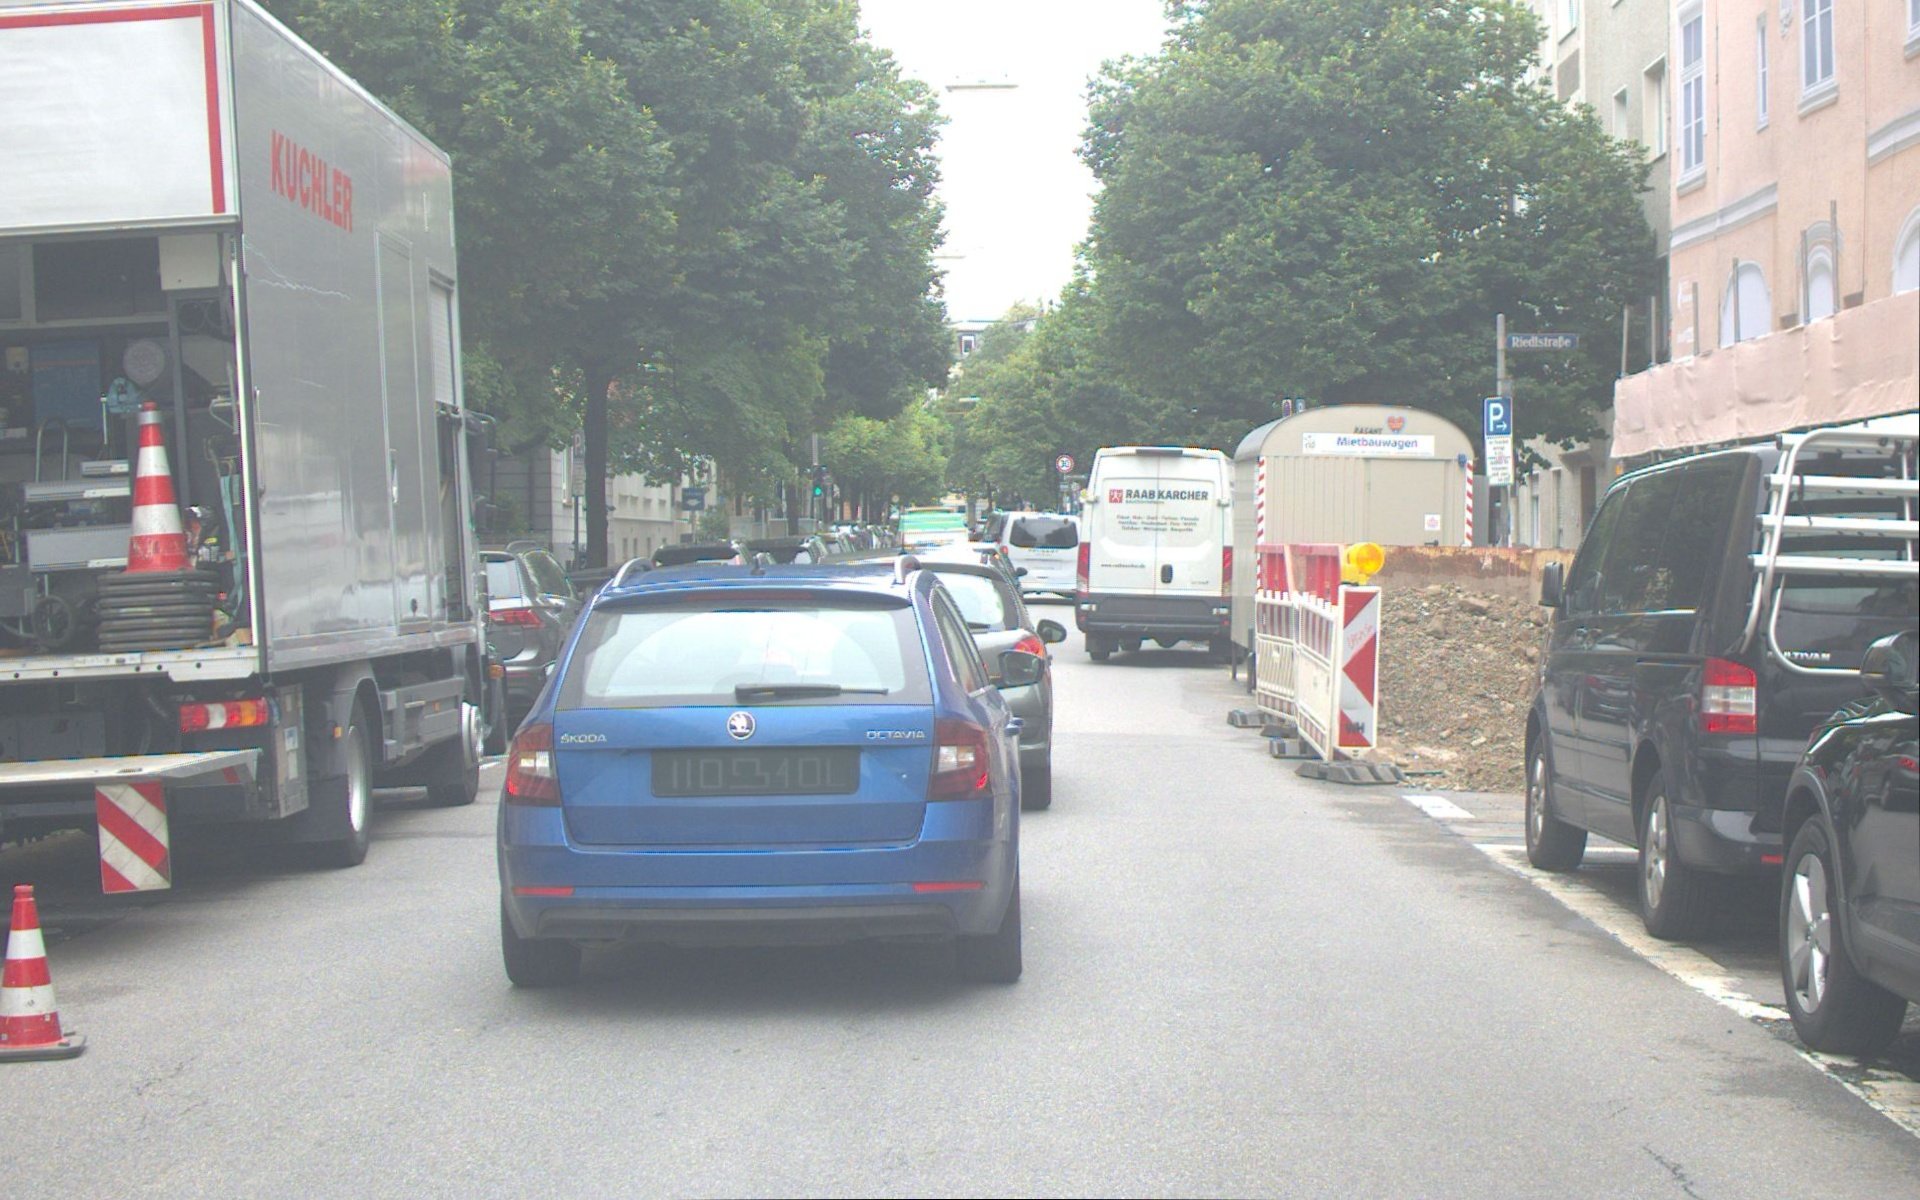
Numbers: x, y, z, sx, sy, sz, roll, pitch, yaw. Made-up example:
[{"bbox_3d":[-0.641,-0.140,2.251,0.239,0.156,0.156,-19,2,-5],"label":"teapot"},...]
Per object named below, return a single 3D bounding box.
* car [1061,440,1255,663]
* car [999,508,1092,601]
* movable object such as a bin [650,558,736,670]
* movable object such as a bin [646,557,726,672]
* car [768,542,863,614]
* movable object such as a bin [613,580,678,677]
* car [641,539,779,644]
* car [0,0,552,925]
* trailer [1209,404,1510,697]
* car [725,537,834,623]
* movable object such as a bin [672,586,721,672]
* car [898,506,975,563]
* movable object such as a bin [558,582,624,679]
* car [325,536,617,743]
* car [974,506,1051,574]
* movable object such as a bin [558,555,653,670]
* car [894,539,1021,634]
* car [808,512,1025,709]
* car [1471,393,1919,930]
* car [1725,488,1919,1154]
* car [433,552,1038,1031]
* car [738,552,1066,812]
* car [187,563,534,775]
[{"bbox_3d":[2.617,-0.605,44.198,2.113,2.654,5.498,1,1,7],"label":"car"},{"bbox_3d":[1.836,-0.985,72.473,1.867,1.863,4.347,1,1,2],"label":"car"},{"bbox_3d":[-3.432,0.168,44.221,1.020,1.372,1.104,-2,1,-3],"label":"movable object such as a bin"},{"bbox_3d":[-3.435,0.173,43.123,0.918,1.372,1.080,-2,1,-3],"label":"movable object such as a bin"},{"bbox_3d":[-3.073,-0.493,73.710,1.812,1.473,4.000,0,1,1],"label":"car"},{"bbox_3d":[-3.858,0.340,42.217,0.711,1.144,0.636,-2,1,-2],"label":"movable object such as a bin"},{"bbox_3d":[-3.668,-0.161,50.944,1.812,1.473,4.000,0,1,-1],"label":"car"},{"bbox_3d":[-4.141,-0.655,18.136,2.812,3.804,8.723,-1,1,1],"label":"car"},{"bbox_3d":[4.157,-0.518,37.074,2.502,2.830,6.901,1,1,1],"label":"trailer"},{"bbox_3d":[-3.205,-0.379,61.668,1.812,1.473,4.000,0,1,-1],"label":"car"},{"bbox_3d":[-3.238,0.356,42.268,0.546,1.017,0.636,-2,1,-2],"label":"movable object such as a bin"},{"bbox_3d":[-0.742,-2.011,104.267,2.007,1.647,4.348,1,1,-4],"label":"car"},{"bbox_3d":[-4.526,0.367,42.174,0.721,1.134,0.659,-2,1,-2],"label":"movable object such as a bin"},{"bbox_3d":[-4.156,0.280,29.821,1.785,1.622,4.185,-1,1,2],"label":"car"},{"bbox_3d":[1.318,-1.521,86.428,1.867,1.647,4.347,1,1,1],"label":"car"},{"bbox_3d":[-4.432,0.147,43.057,1.081,1.372,1.084,-2,1,-3],"label":"movable object such as a bin"},{"bbox_3d":[0.000,-0.238,53.290,1.867,1.343,4.347,1,1,1],"label":"car"},{"bbox_3d":[-0.369,0.036,32.175,1.867,1.690,4.347,1,1,0],"label":"car"},{"bbox_3d":[3.572,0.291,14.921,2.082,1.914,5.140,1,-1,2],"label":"car"},{"bbox_3d":[3.290,0.584,8.902,1.694,1.671,4.407,3,1,2],"label":"car"},{"bbox_3d":[-0.644,0.562,12.740,1.789,1.455,4.314,-1,1,2],"label":"car"},{"bbox_3d":[-0.264,0.427,20.697,1.741,1.417,3.664,0,1,3],"label":"car"},{"bbox_3d":[-4.271,0.446,25.016,1.699,1.404,3.708,-1,1,3],"label":"car"}]
